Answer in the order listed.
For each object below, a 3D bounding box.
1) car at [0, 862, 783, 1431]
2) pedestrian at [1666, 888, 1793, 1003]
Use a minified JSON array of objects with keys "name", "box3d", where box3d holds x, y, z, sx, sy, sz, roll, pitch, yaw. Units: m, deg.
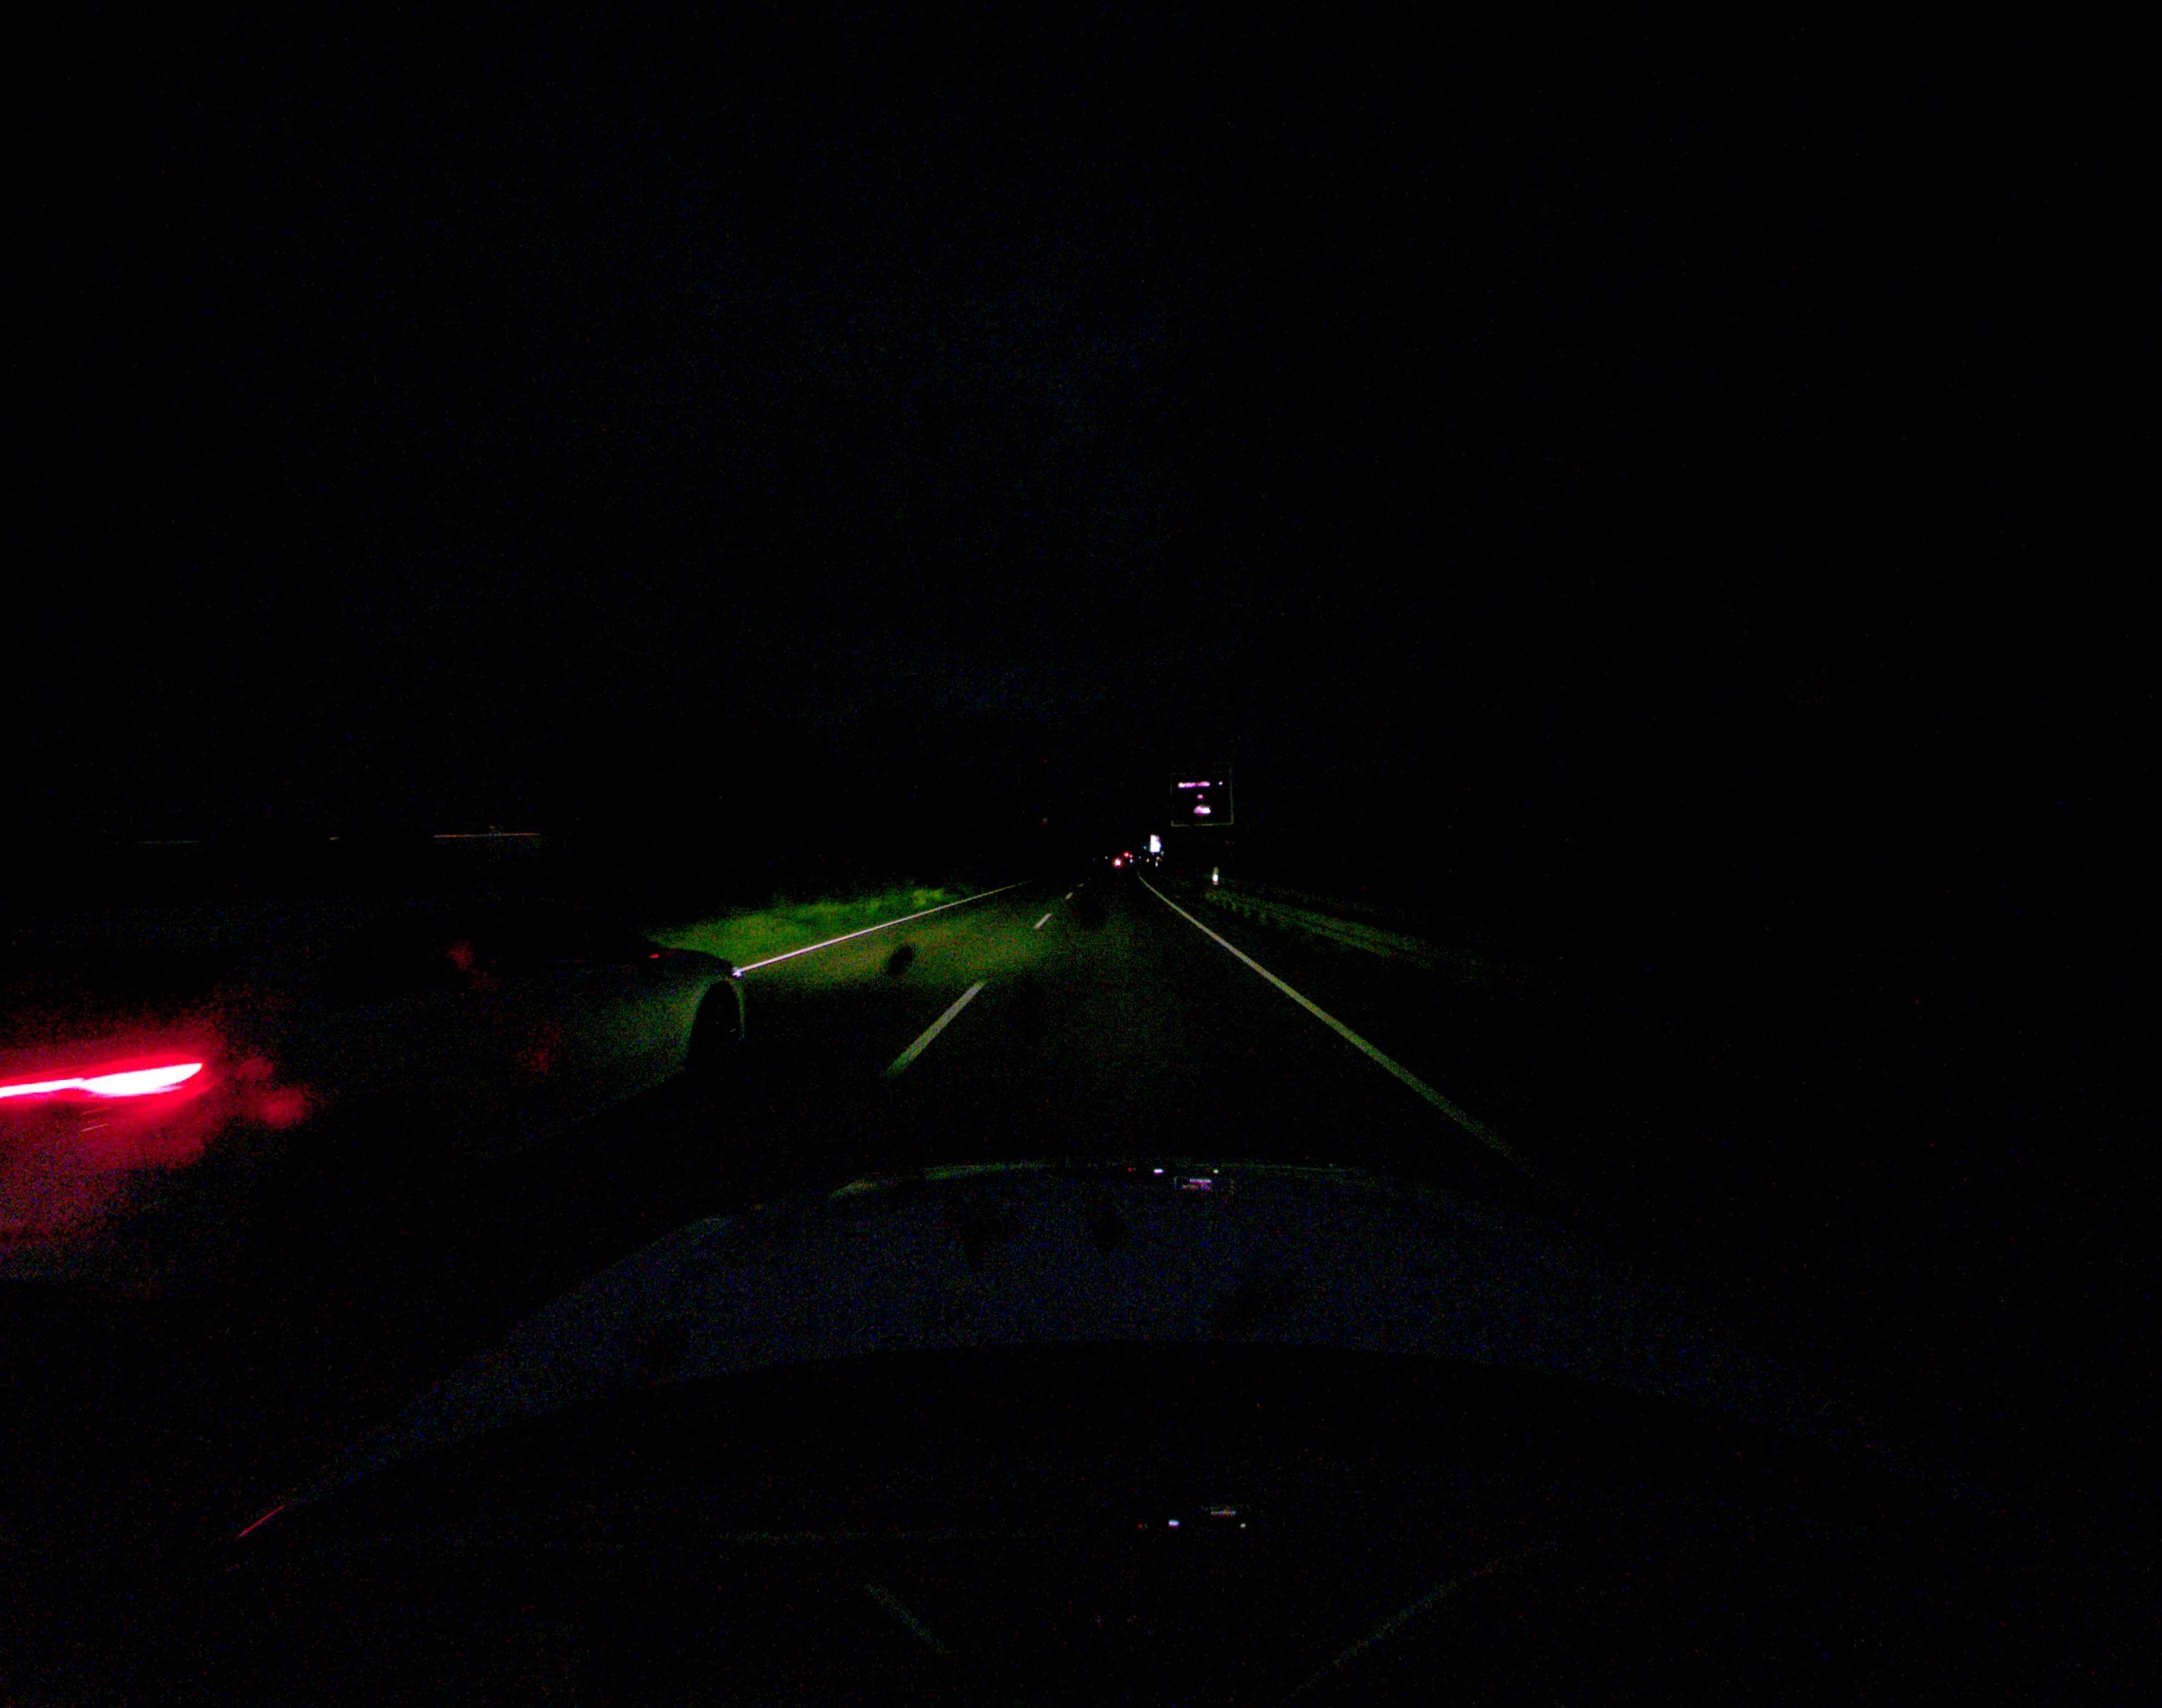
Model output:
[{"name":"car","box3d":[-3.338,0.805,4.459,1.636,1.490,4.580,-1,0,1]},{"name":"pedestrian","box3d":[10.003,1.376,12.619,1.058,1.643,1.119,-1,-1,2]}]
